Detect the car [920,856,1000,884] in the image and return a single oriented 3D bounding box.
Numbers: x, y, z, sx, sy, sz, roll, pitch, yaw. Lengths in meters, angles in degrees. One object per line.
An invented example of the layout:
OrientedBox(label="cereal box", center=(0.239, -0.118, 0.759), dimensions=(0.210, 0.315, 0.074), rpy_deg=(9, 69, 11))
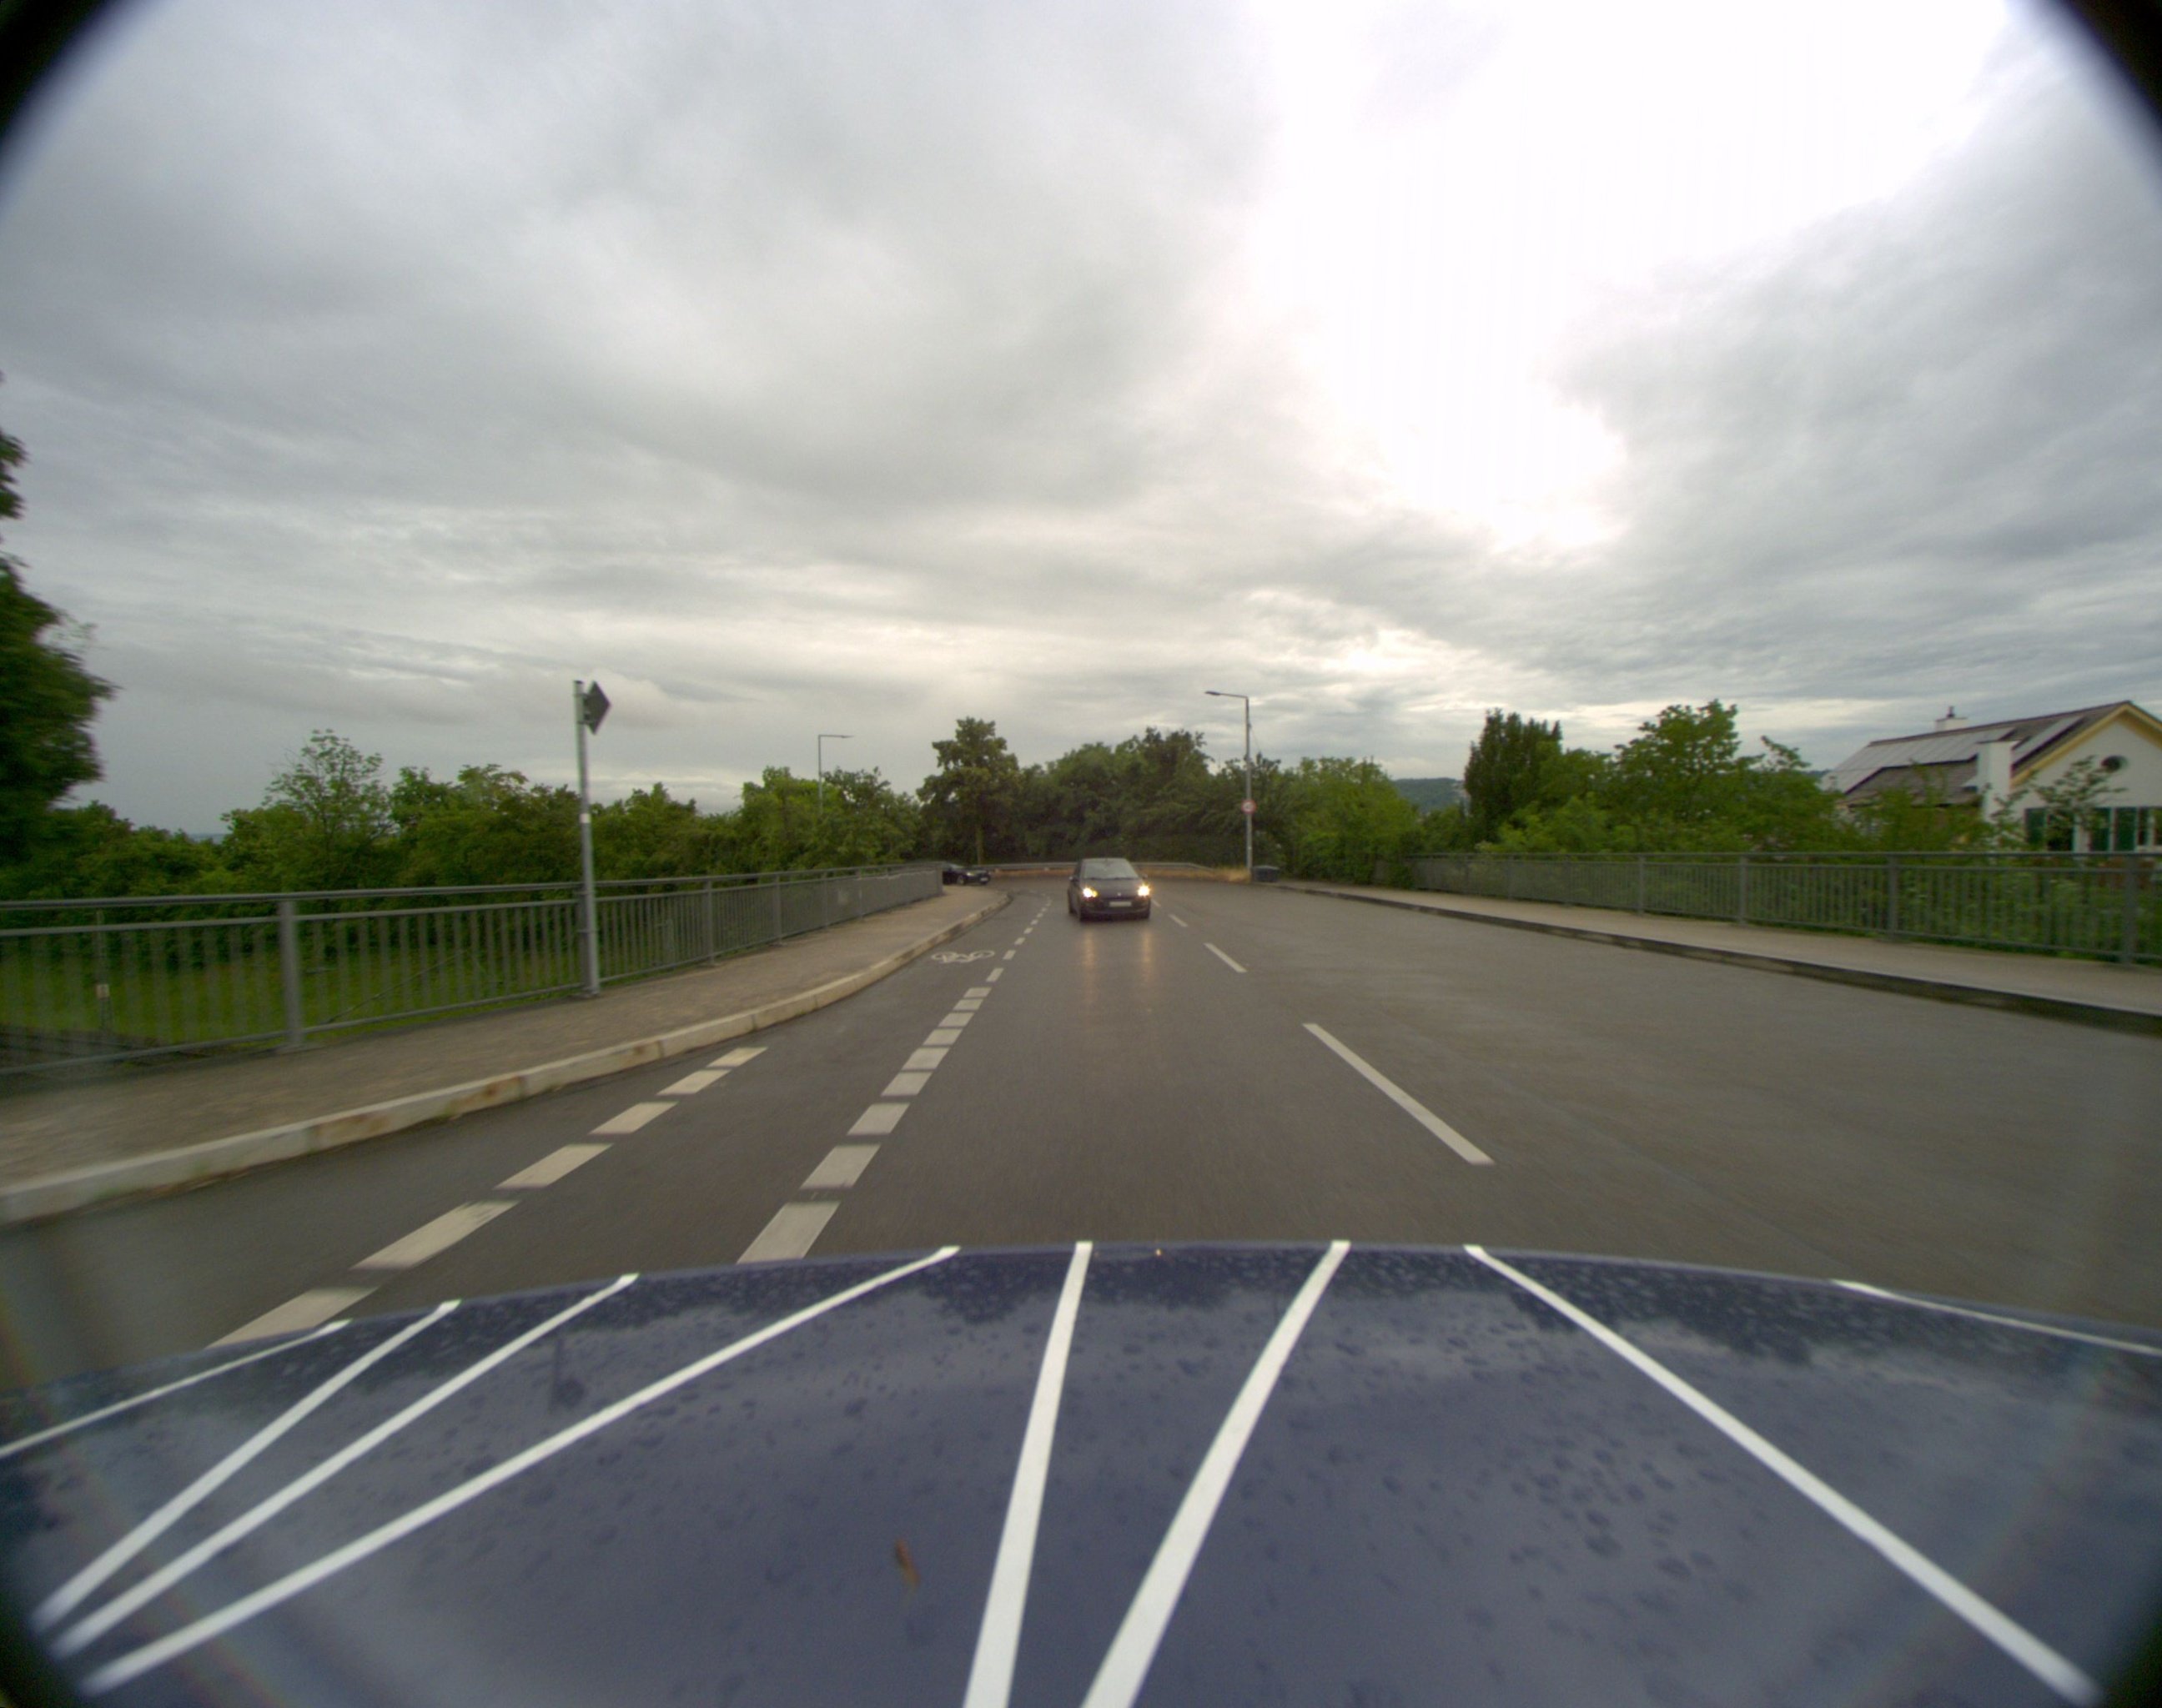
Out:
OrientedBox(label="car", center=(-6.686, 0.877, 41.747), dimensions=(4.387, 1.445, 1.771), rpy_deg=(-1, -1, 37))

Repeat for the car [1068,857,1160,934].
OrientedBox(label="car", center=(0.686, 0.888, 18.151), dimensions=(1.681, 1.405, 3.634), rpy_deg=(-3, 3, -5))
